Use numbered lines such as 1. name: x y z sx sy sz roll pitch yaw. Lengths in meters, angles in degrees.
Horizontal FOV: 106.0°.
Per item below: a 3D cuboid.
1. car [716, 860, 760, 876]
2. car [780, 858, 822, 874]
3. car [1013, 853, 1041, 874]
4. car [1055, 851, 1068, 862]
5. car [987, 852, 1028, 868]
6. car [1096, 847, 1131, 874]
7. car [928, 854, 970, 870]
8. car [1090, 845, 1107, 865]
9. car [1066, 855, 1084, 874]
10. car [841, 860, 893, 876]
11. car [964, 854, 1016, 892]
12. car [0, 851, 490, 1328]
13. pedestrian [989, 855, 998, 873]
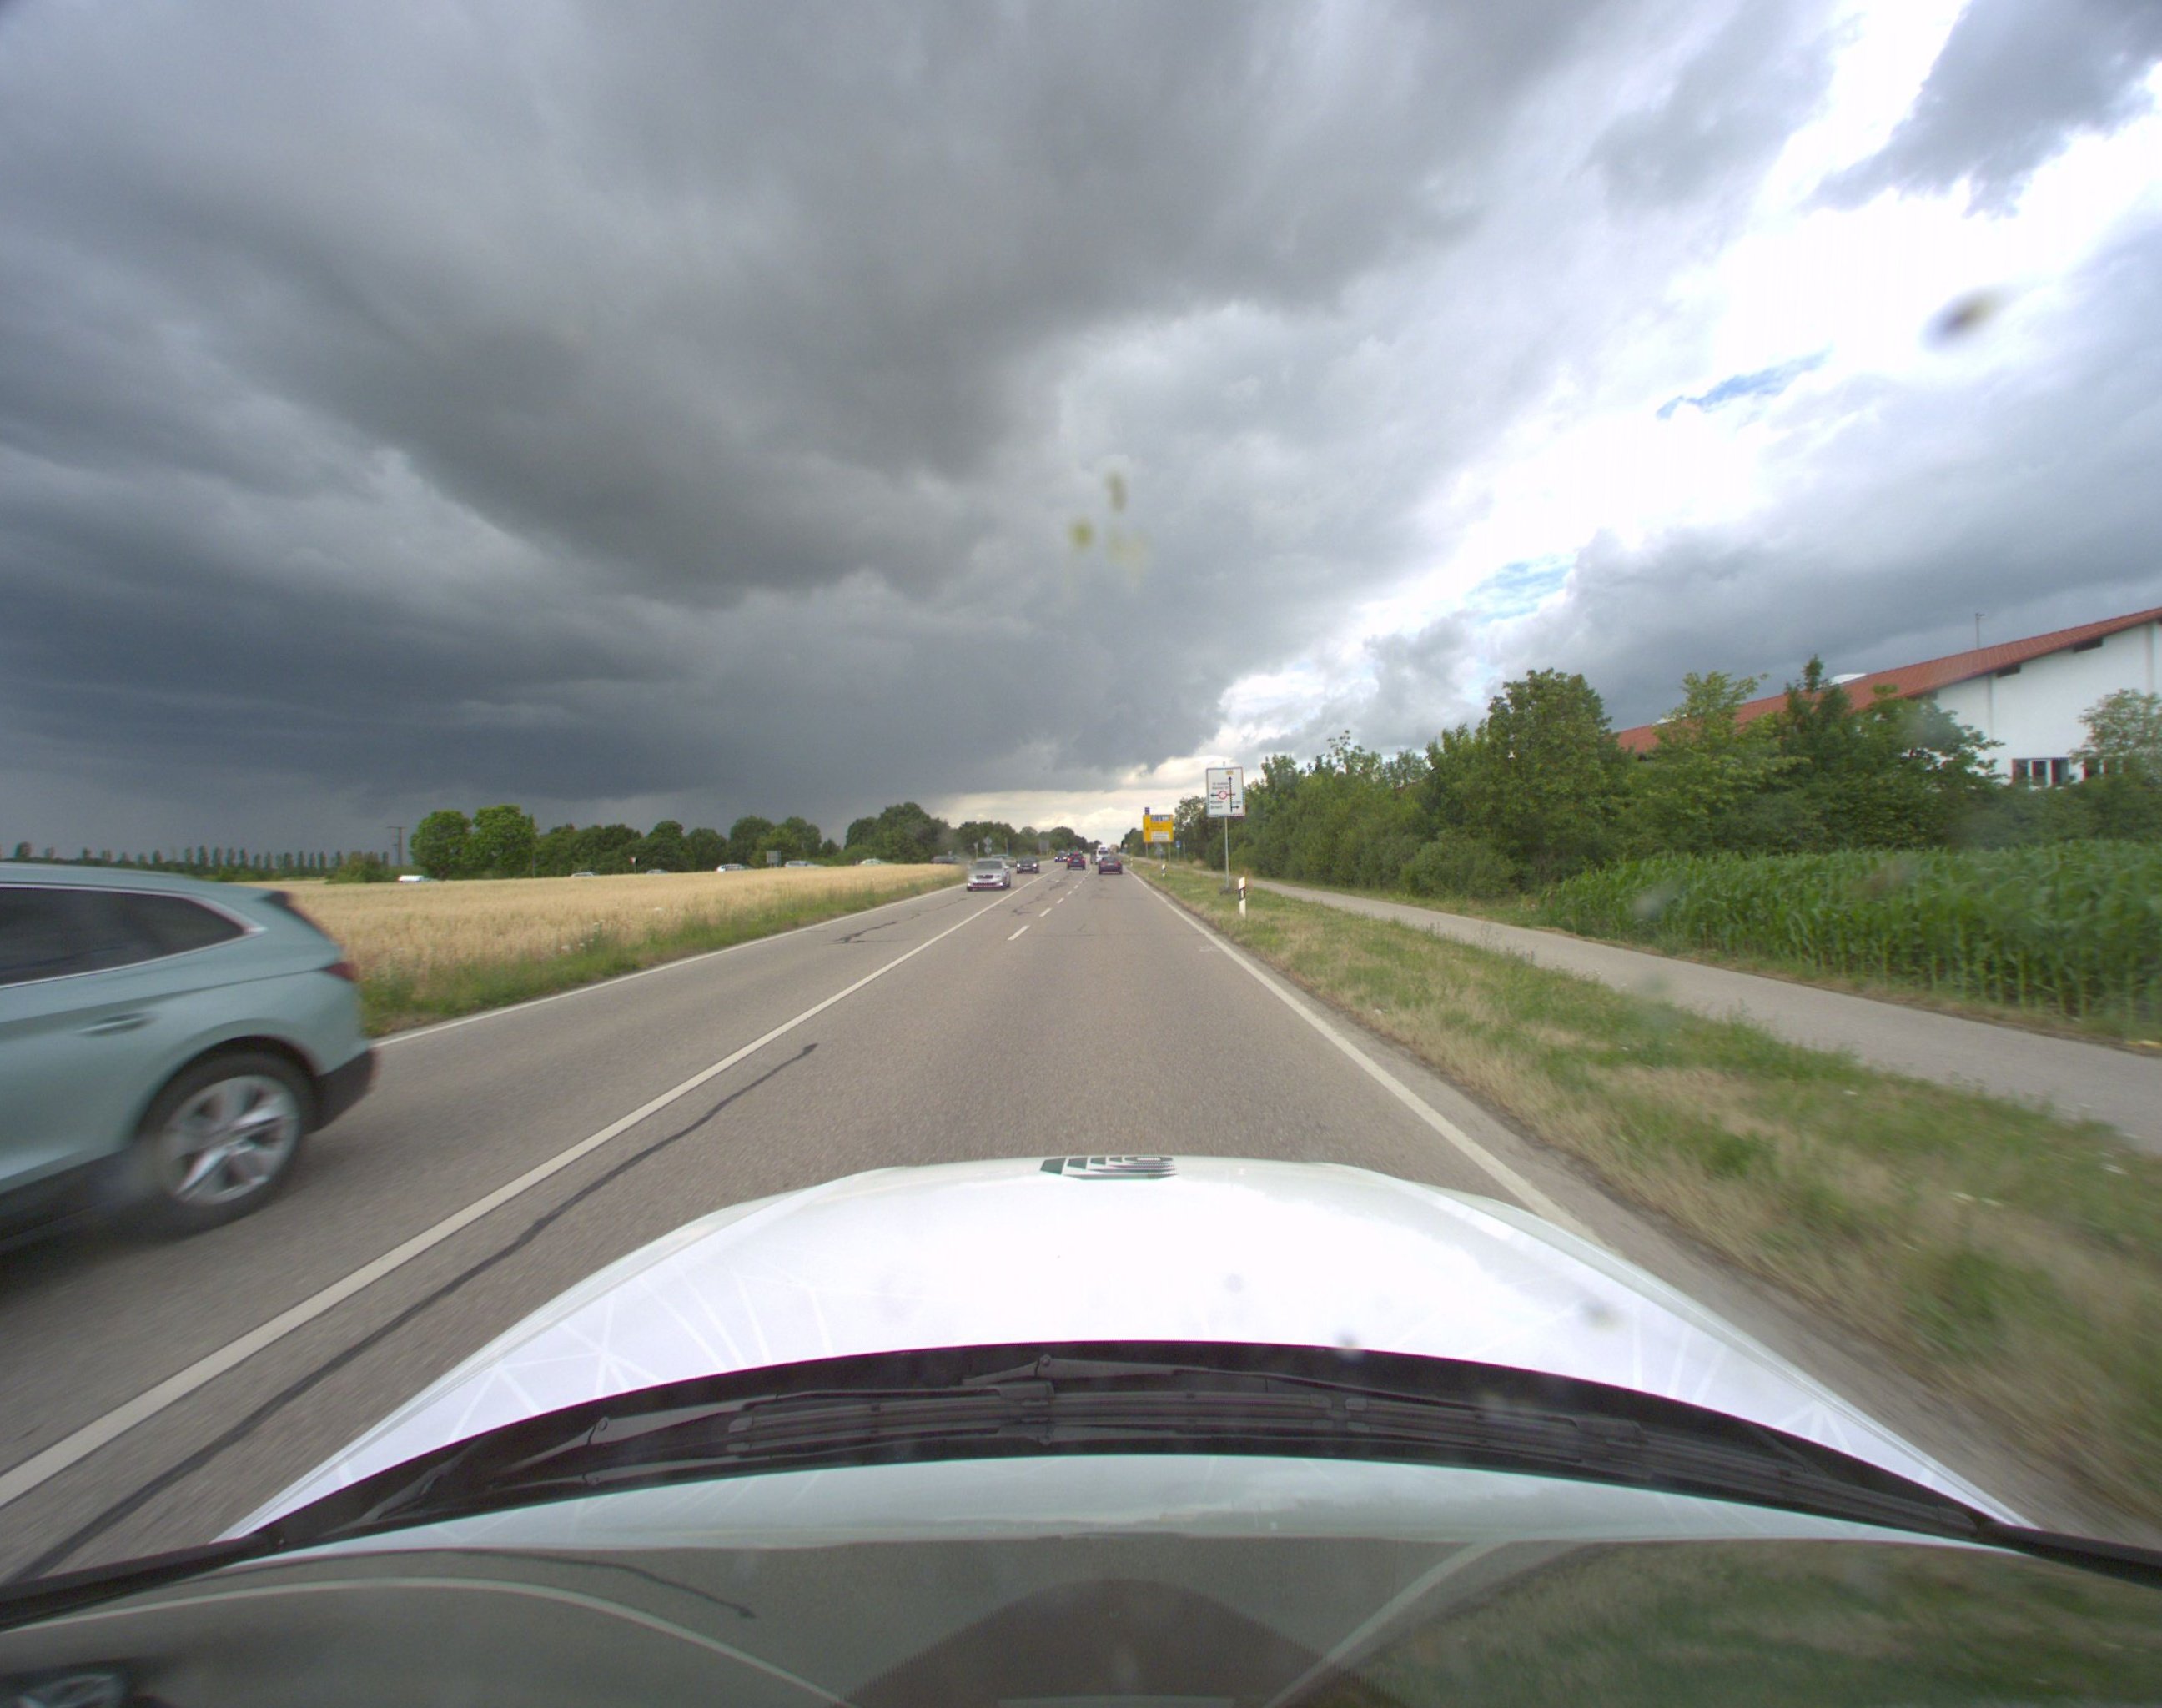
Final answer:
1. car: -38.782 1.563 92.103 4.052 1.649 1.869 -2 0 5
2. car: -31.498 1.310 91.652 4.052 1.649 1.869 -2 0 5
3. car: -4.340 0.723 65.941 1.847 1.630 4.001 -2 0 1
4. car: -2.919 0.386 122.856 1.640 1.590 4.002 -2 0 2
5. car: -8.147 0.625 90.387 4.403 1.649 1.500 -2 0 -4
6. car: 2.456 0.493 62.652 2.365 1.880 4.476 -3 0 -1
7. car: -14.480 0.856 89.629 4.401 1.649 1.501 -2 0 -3
8. car: 2.218 0.157 105.466 1.993 2.452 4.849 -2 0 -1
9. car: -0.535 1.001 79.755 1.566 1.701 4.001 -2 0 2
10. car: -23.942 1.553 91.135 5.282 1.649 1.869 -2 0 5
11. car: -4.219 0.841 38.496 1.760 1.601 4.932 -2 0 1
12. car: -4.649 0.837 2.482 2.057 1.580 4.766 -3 0 1
13. pedestrian: -8.027 0.908 74.482 0.363 1.575 0.708 -2 0 37
